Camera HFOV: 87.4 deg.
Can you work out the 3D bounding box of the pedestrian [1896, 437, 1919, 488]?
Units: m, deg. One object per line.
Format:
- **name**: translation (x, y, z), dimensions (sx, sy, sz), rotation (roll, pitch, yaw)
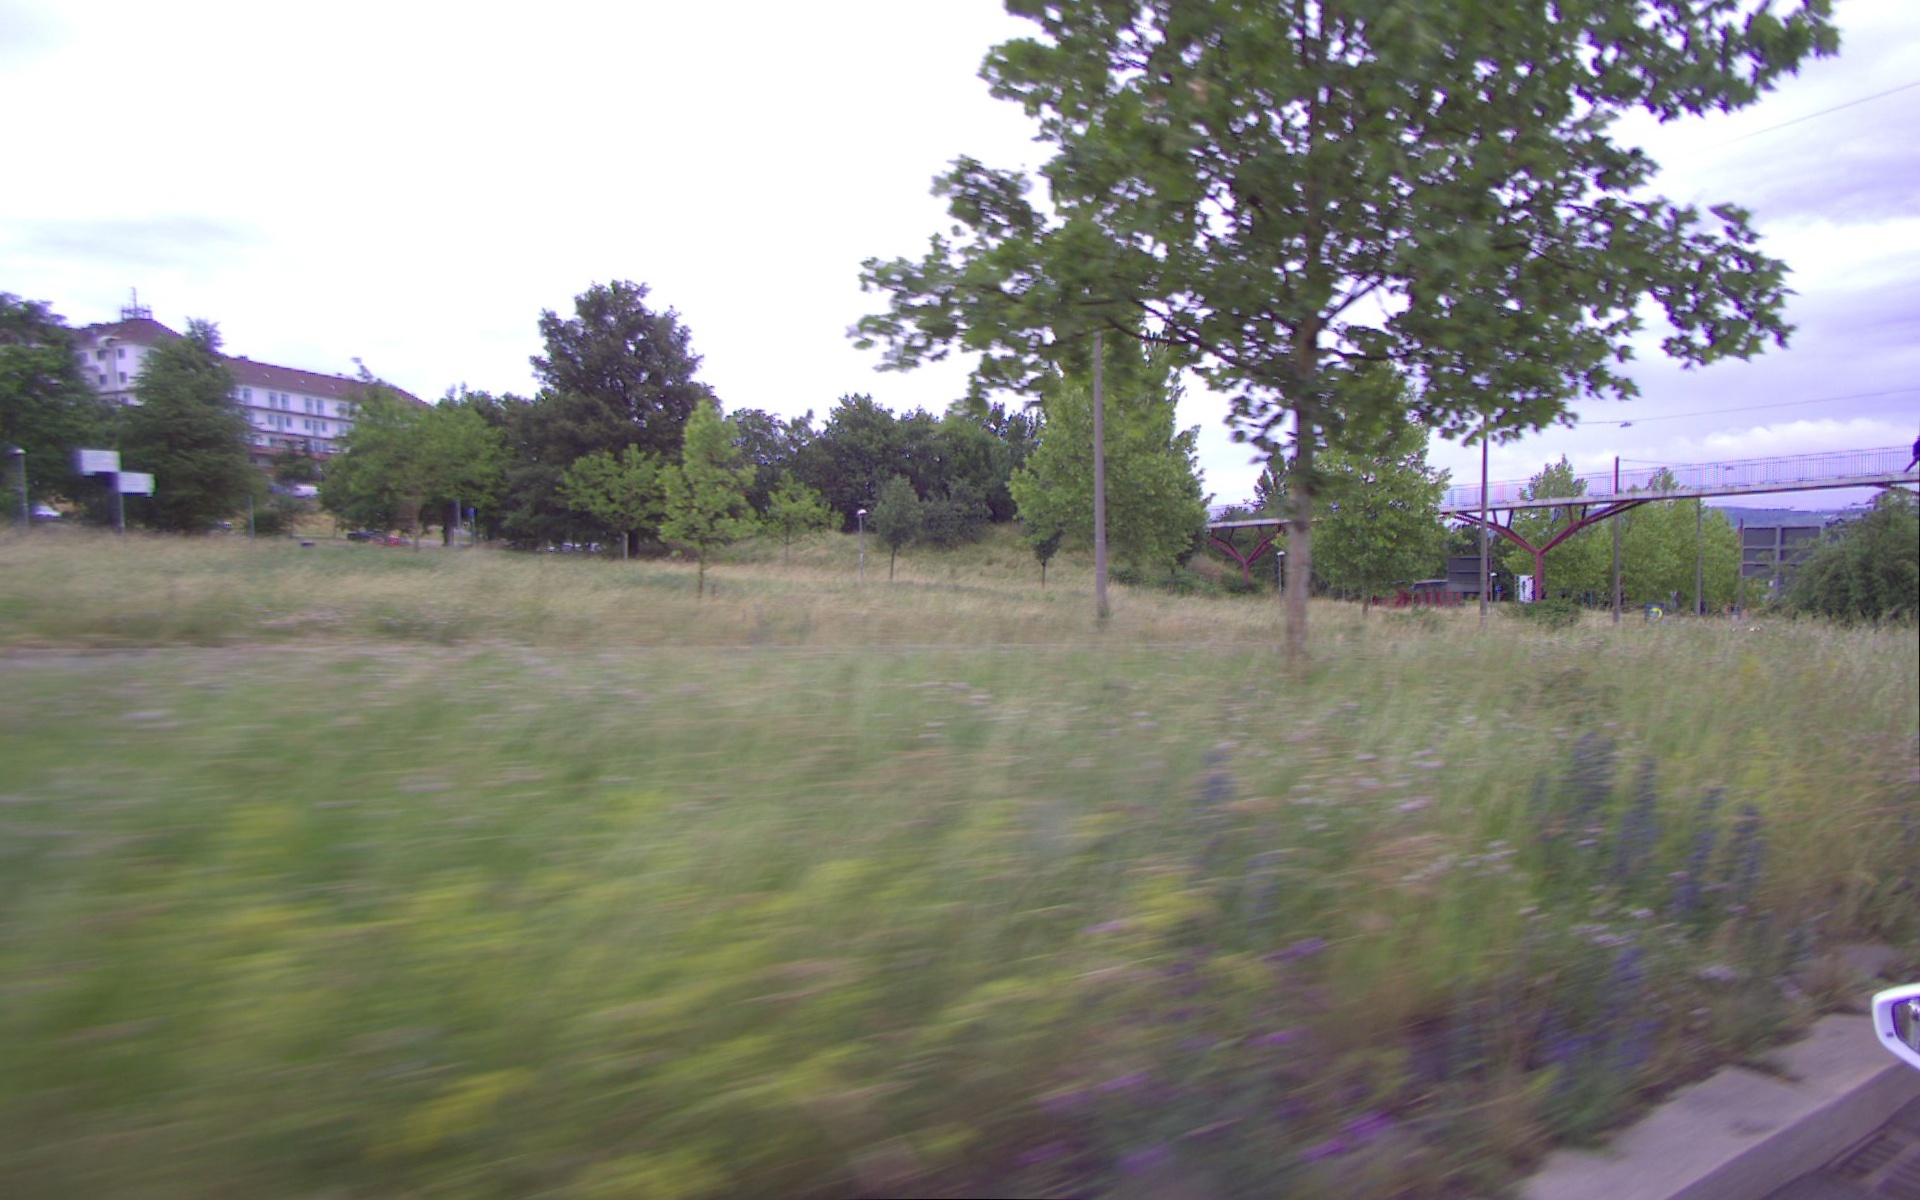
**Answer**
- **pedestrian**: translation (43.801, -6.310, 46.287), dimensions (0.726, 2.171, 0.906), rotation (1, -2, -41)
